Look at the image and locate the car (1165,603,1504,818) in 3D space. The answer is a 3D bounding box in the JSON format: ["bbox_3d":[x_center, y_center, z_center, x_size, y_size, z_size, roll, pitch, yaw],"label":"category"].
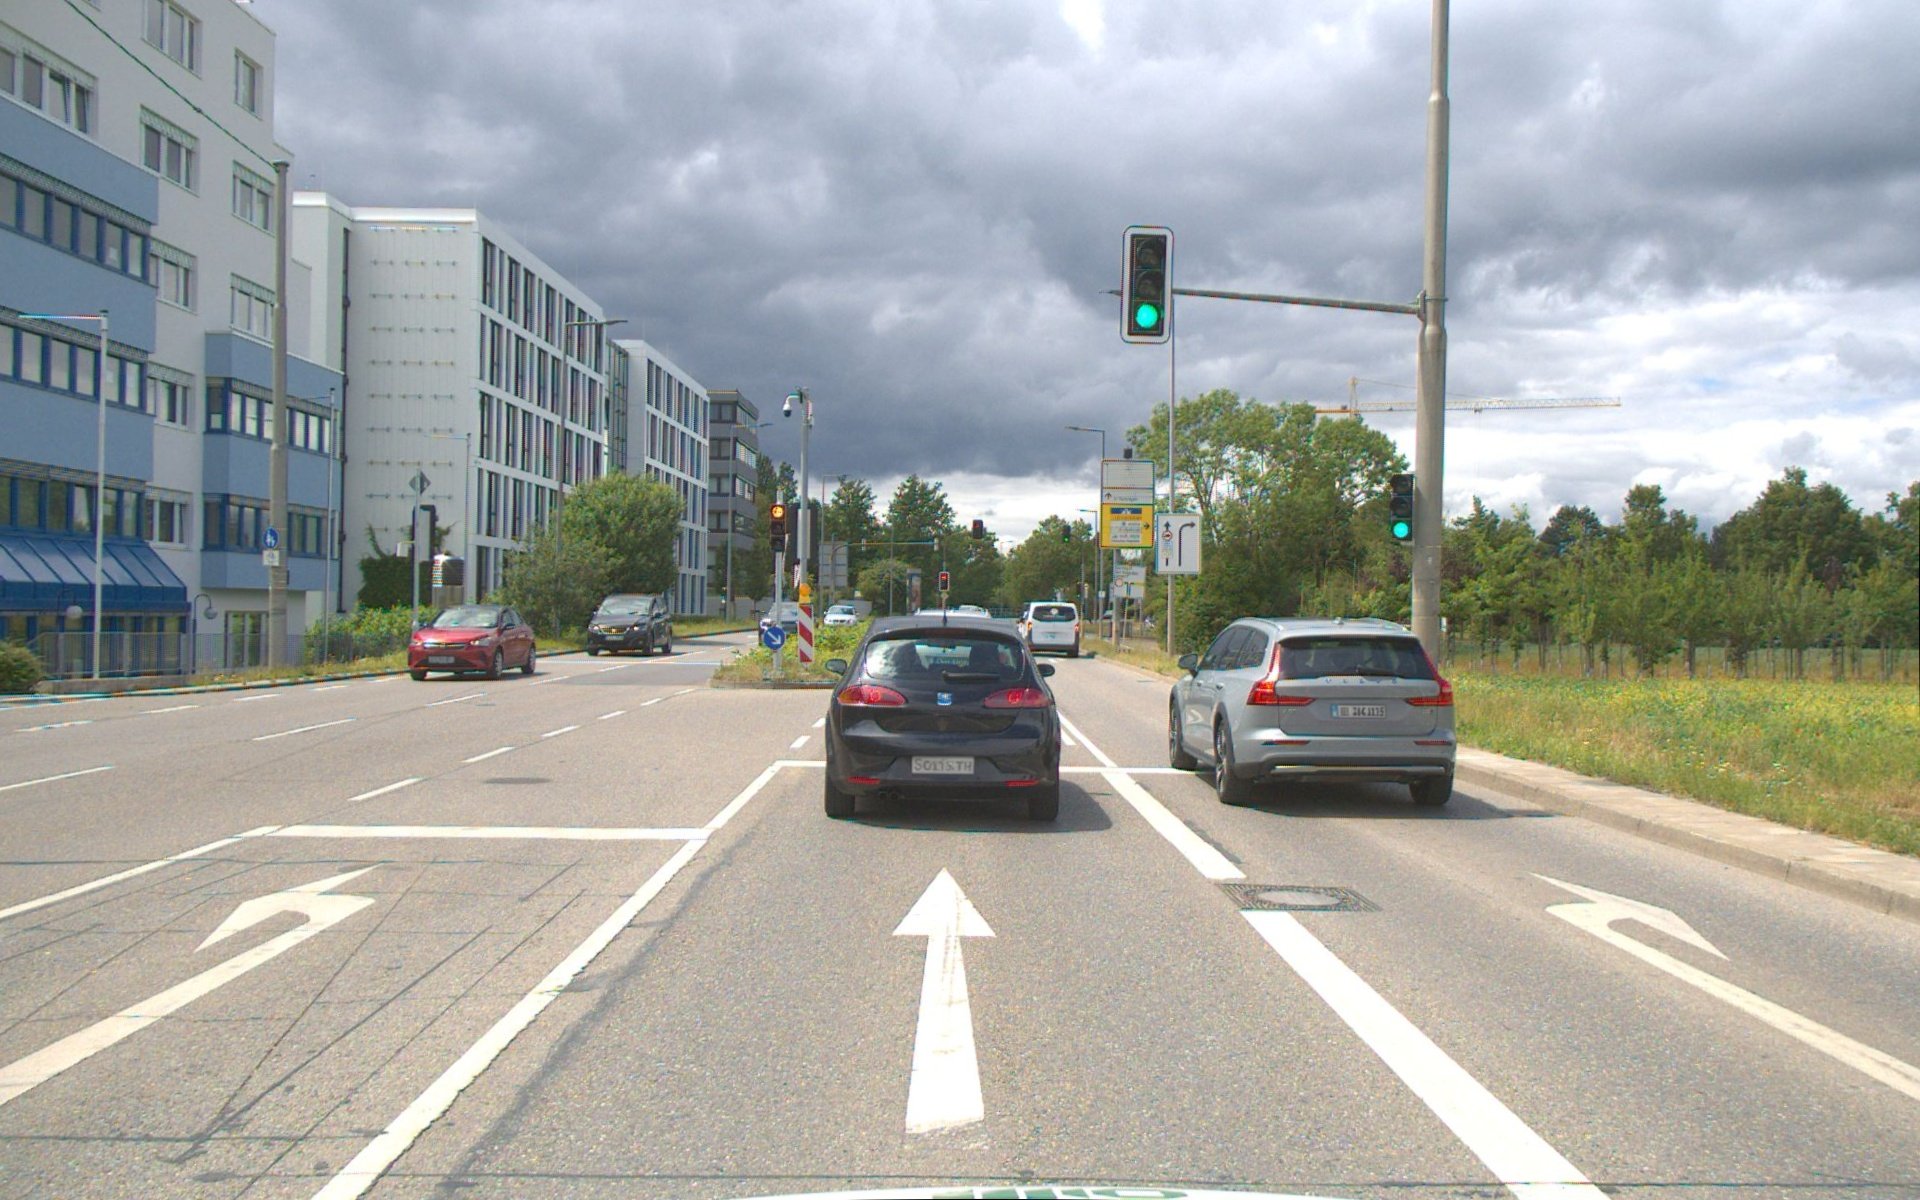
[{"bbox_3d":[3.043,0.852,14.432,1.918,1.552,4.339,-1,-1,-1],"label":"car"}]

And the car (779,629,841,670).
[{"bbox_3d":[-5.384,1.762,59.752,1.953,1.434,3.999,0,-1,-1],"label":"car"}]

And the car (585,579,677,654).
[{"bbox_3d":[-9.378,0.482,47.533,1.954,2.049,4.478,0,-1,-3],"label":"car"}]

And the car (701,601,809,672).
[{"bbox_3d":[-4.533,0.803,37.133,1.807,1.487,4.056,0,-1,1],"label":"car"}]

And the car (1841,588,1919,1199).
[{"bbox_3d":[3.285,0.820,2.014,1.801,1.565,4.805,0,2,-1],"label":"car"}]

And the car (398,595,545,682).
[{"bbox_3d":[-9.752,0.765,33.332,1.739,1.640,4.000,0,-1,0],"label":"car"}]

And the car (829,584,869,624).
[{"bbox_3d":[-5.915,0.243,88.617,1.953,2.049,3.999,0,-1,-1],"label":"car"}]

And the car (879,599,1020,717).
[{"bbox_3d":[-0.200,0.816,25.259,1.943,1.618,4.224,1,0,-2],"label":"car"}]

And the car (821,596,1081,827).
[{"bbox_3d":[0.028,0.780,13.176,1.711,1.510,4.001,2,-1,3],"label":"car"}]

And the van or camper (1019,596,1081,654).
[{"bbox_3d":[3.126,0.865,58.038,1.861,1.959,3.998,0,-1,-2],"label":"van or camper"}]
